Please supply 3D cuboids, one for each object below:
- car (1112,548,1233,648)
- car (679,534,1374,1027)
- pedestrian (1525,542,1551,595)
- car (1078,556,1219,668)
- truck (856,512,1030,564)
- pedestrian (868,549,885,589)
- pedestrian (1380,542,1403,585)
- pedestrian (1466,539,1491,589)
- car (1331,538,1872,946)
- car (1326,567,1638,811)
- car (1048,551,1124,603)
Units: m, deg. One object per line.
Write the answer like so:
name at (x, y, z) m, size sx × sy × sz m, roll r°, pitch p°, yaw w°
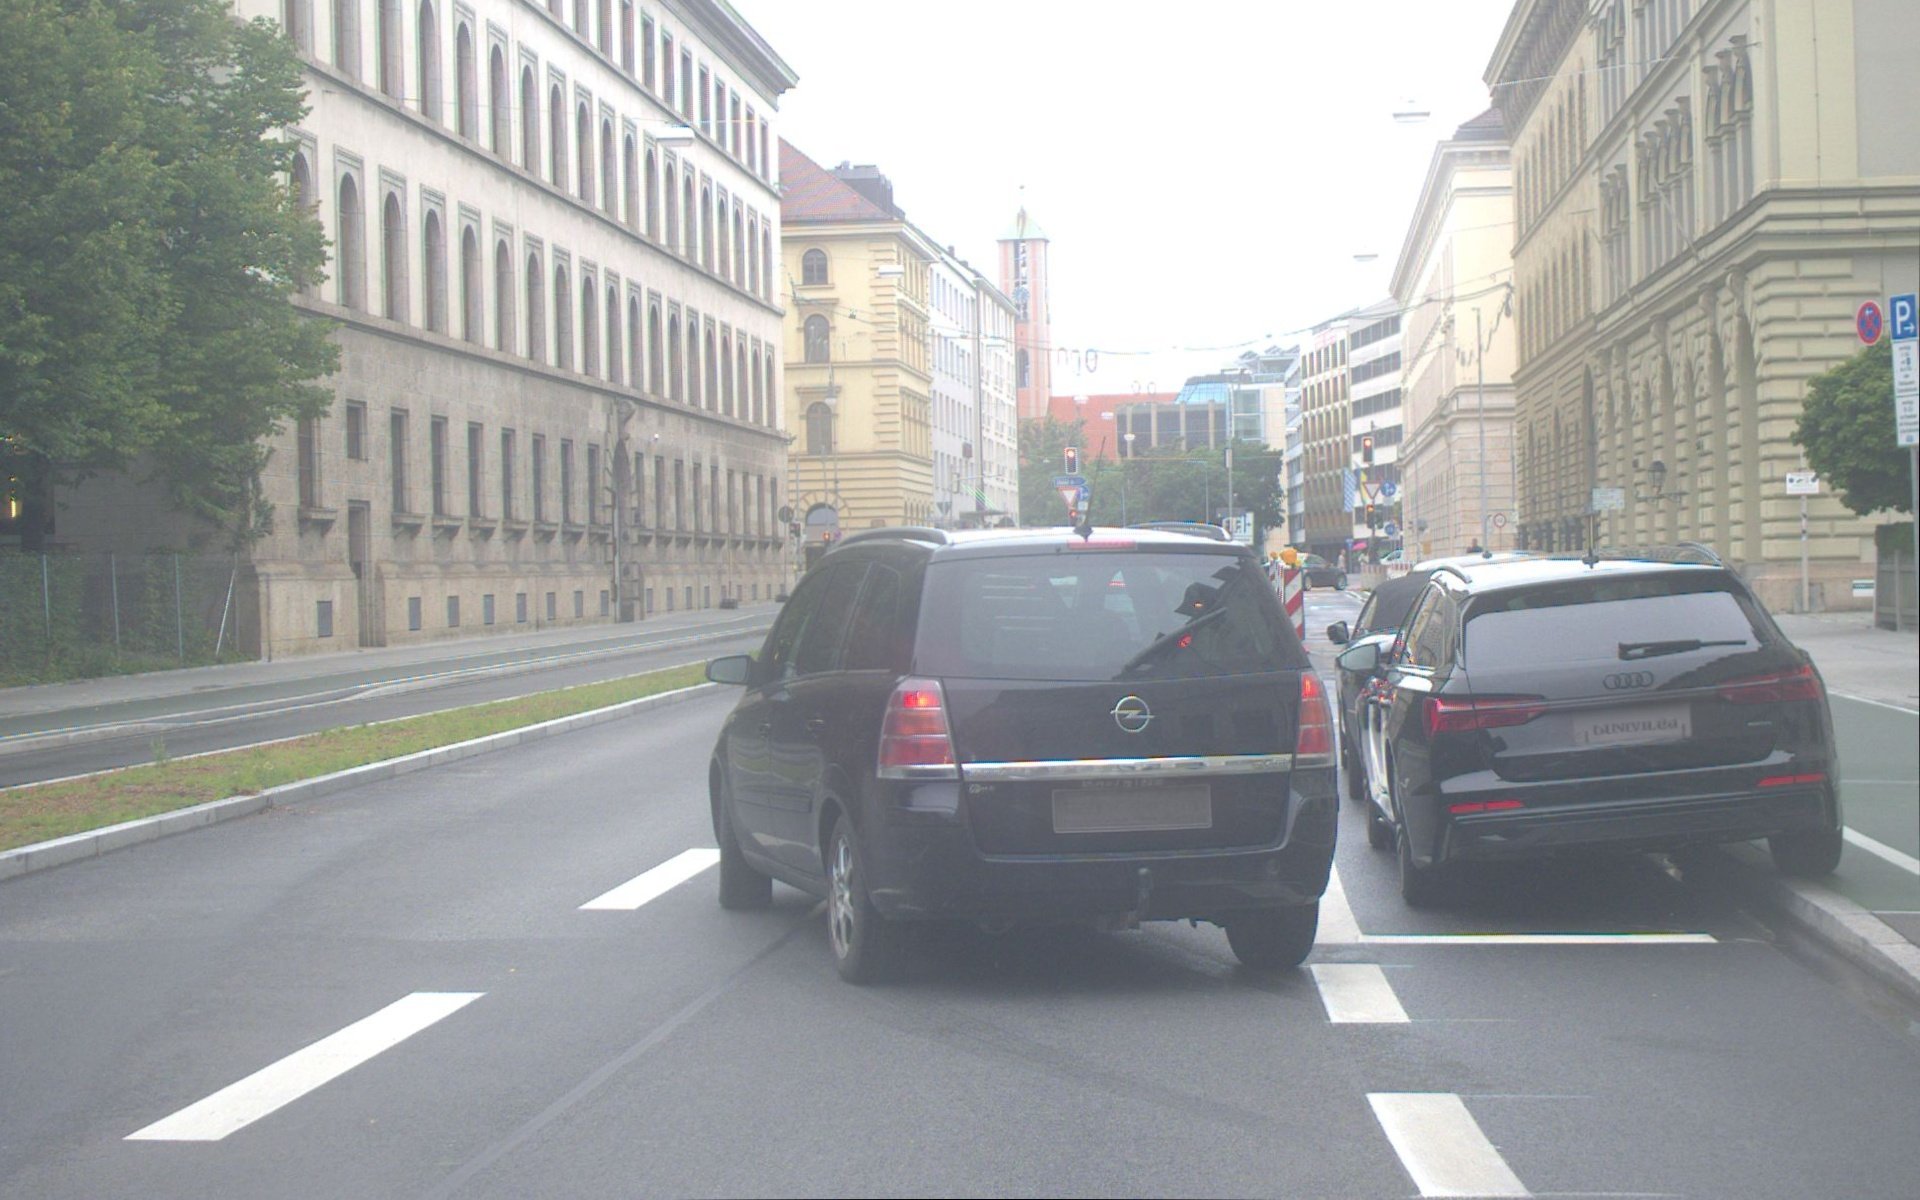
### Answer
car at (3.262, -0.061, 52.190) m, size 1.730 × 1.456 × 3.999 m, roll 0°, pitch 1°, yaw 5°
car at (0.082, 0.556, 13.429) m, size 1.764 × 1.610 × 4.031 m, roll 0°, pitch 1°, yaw -13°
pedestrian at (17.734, -0.980, 105.487) m, size 0.710 × 1.612 × 0.754 m, roll -1°, pitch 1°, yaw 5°
car at (2.547, 0.120, 45.694) m, size 1.730 × 1.398 × 3.999 m, roll 0°, pitch 1°, yaw 5°
truck at (-0.732, -2.718, 151.165) m, size 7.388 × 2.245 × 2.179 m, roll 1°, pitch 0°, yaw 8°
pedestrian at (-3.838, -1.422, 157.543) m, size 0.656 × 1.799 × 0.727 m, roll -1°, pitch 1°, yaw 5°
pedestrian at (16.483, -1.382, 131.235) m, size 0.752 × 1.612 × 0.712 m, roll -1°, pitch 1°, yaw 14°
pedestrian at (16.881, -1.183, 111.992) m, size 0.710 × 1.612 × 0.754 m, roll -1°, pitch 1°, yaw 5°
car at (2.786, 0.531, 15.898) m, size 1.809 × 1.475 × 4.462 m, roll -5°, pitch 1°, yaw 4°
car at (3.352, 0.505, 22.736) m, size 1.826 × 1.402 × 4.718 m, roll 0°, pitch 1°, yaw 6°
car at (3.748, -0.692, 101.673) m, size 1.994 × 1.439 × 3.999 m, roll -1°, pitch 1°, yaw 6°
